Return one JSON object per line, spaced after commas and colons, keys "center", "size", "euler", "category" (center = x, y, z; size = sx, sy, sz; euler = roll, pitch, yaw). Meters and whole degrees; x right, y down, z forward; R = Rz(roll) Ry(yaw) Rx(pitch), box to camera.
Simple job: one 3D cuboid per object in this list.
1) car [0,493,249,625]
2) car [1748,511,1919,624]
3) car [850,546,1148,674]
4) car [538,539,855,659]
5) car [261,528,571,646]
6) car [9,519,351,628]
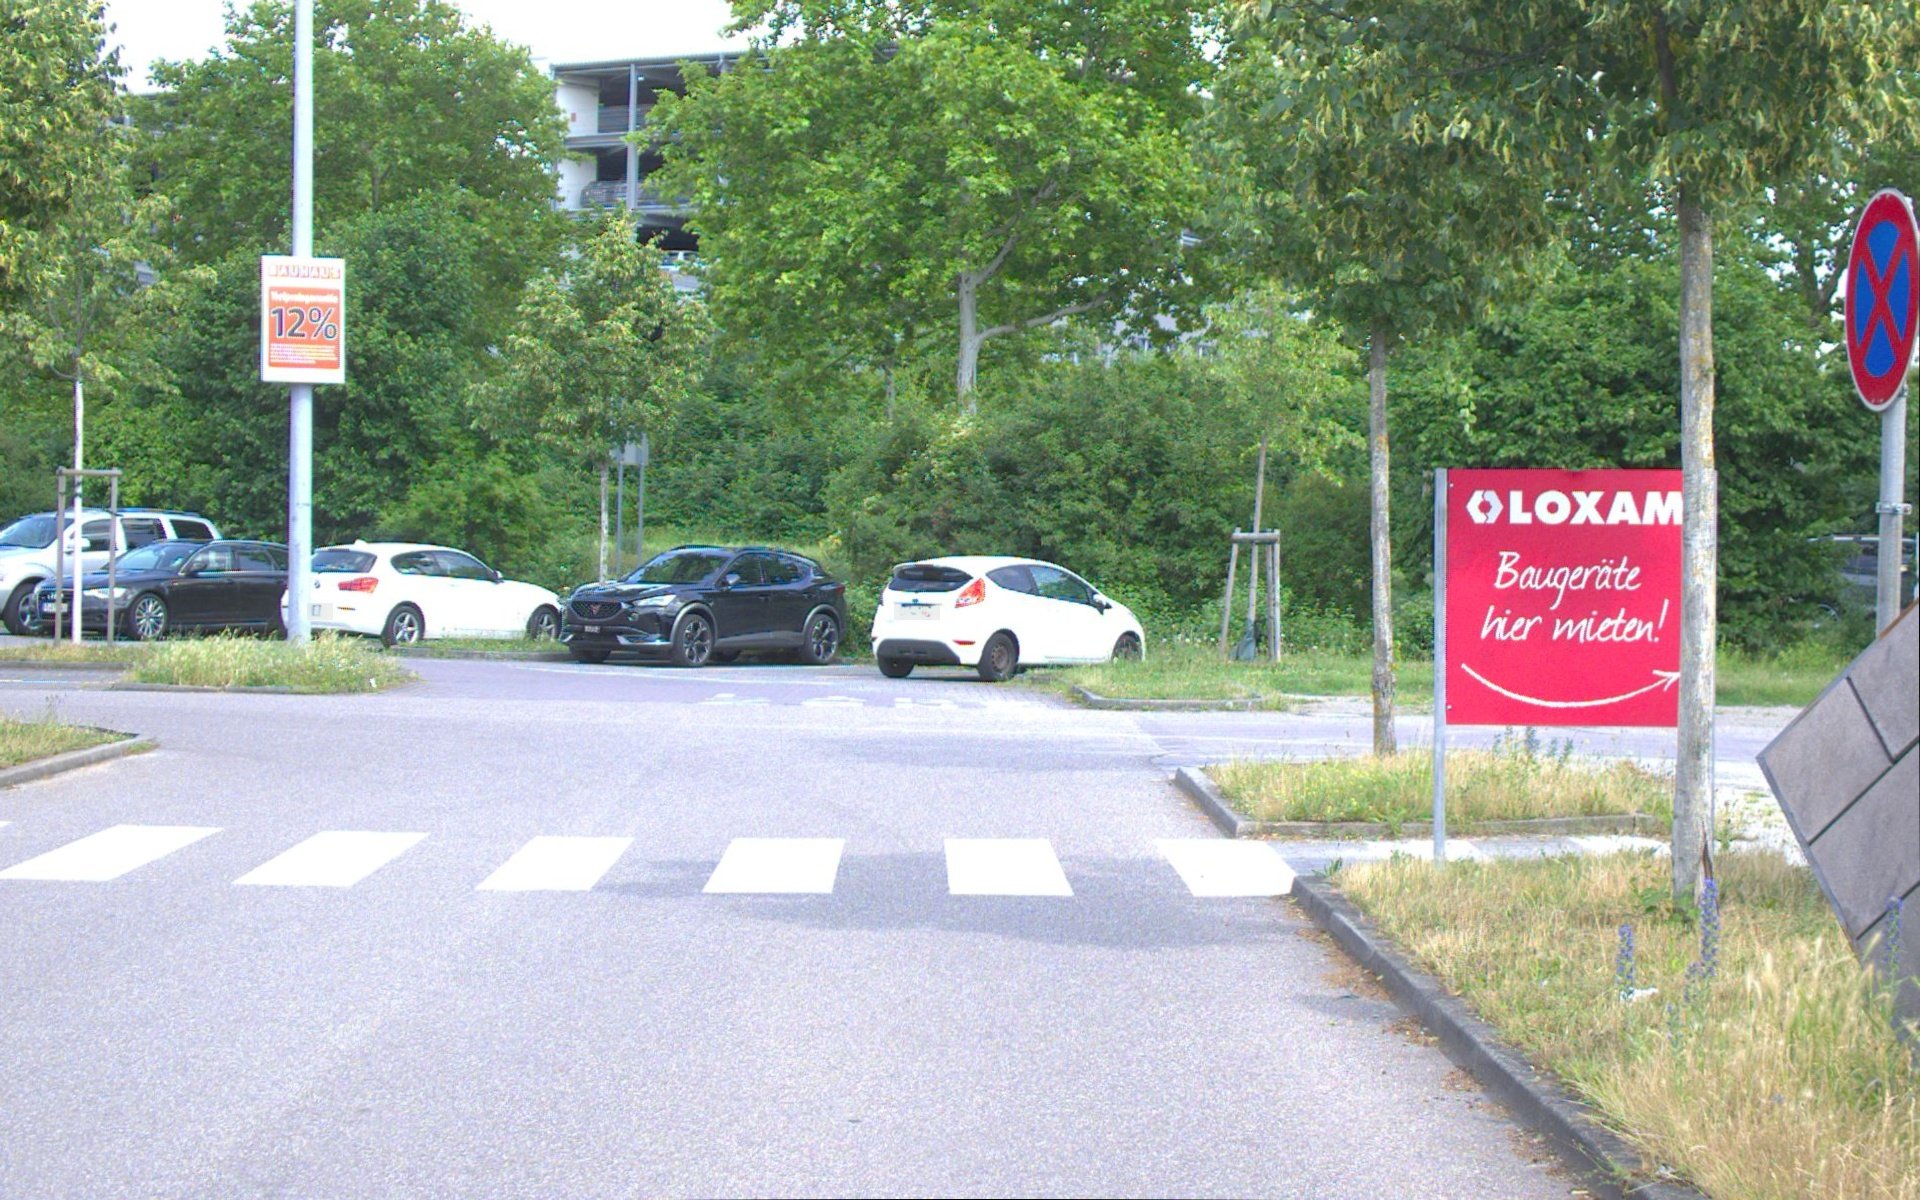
{"center": [-12.991, -0.617, 50.360], "size": [1.988, 1.836, 5.138], "euler": [2, 1, 33], "category": "car"}
{"center": [14.868, -0.501, 54.922], "size": [3.994, 1.710, 1.996], "euler": [0, -2, 32], "category": "car"}
{"center": [0.498, 0.101, 40.666], "size": [1.668, 1.407, 3.549], "euler": [2, 1, 39], "category": "car"}
{"center": [-3.278, -0.030, 43.602], "size": [1.731, 1.405, 4.234], "euler": [2, 1, 34], "category": "car"}
{"center": [-7.240, -0.178, 46.050], "size": [1.688, 1.504, 4.073], "euler": [1, 1, 37], "category": "car"}
{"center": [-11.047, -0.377, 48.986], "size": [1.837, 1.446, 4.715], "euler": [2, 1, 35], "category": "car"}
